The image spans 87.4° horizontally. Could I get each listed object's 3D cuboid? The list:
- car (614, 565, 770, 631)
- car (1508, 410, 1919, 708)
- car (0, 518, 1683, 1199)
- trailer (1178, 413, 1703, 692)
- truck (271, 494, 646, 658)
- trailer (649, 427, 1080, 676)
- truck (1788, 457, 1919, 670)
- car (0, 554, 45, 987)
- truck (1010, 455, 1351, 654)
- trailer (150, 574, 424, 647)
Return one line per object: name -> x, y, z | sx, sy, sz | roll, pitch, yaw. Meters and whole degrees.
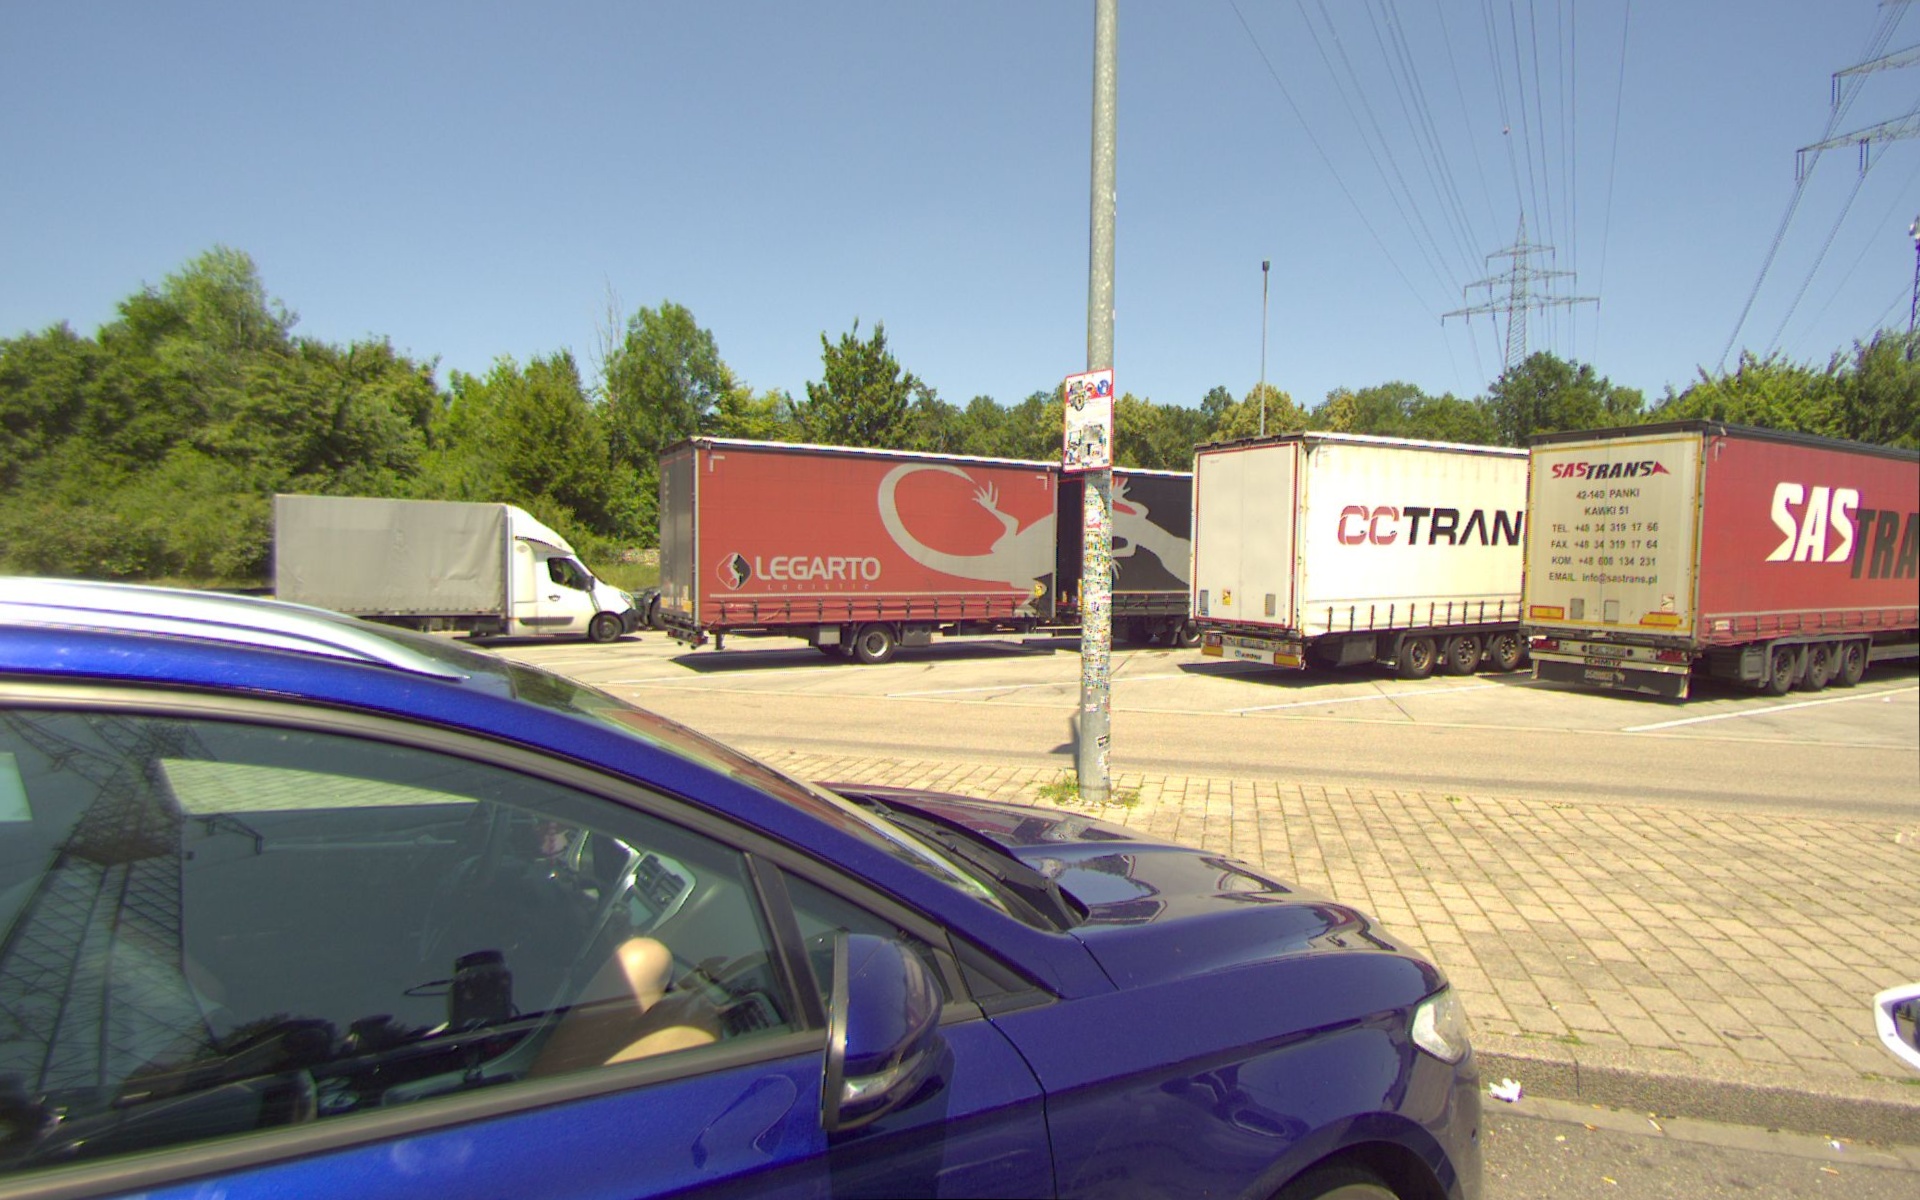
car -> -7.603, -0.052, 28.517 | 3.953, 1.773, 1.902 | 0, 0, -30
car -> 15.218, -0.694, 18.455 | 12.777, 4.169, 2.683 | -1, 3, -30
car -> -0.984, 0.672, 1.466 | 4.380, 1.464, 1.771 | 0, 0, -32
trailer -> 10.113, -0.884, 20.068 | 12.786, 4.325, 2.800 | -1, 2, -31
truck -> -11.113, -0.589, 22.875 | 7.219, 3.277, 2.308 | -2, 3, -29
trailer -> -1.742, -0.932, 20.505 | 8.389, 4.248, 2.800 | -1, 2, -30
truck -> 21.144, -0.775, 21.866 | 6.163, 4.169, 2.683 | -1, 3, -30
car -> -4.610, 0.558, 2.117 | 3.700, 1.432, 1.595 | 0, 0, -32
truck -> 5.604, -1.081, 24.829 | 8.683, 4.248, 2.800 | -1, 2, -30
trailer -> -15.948, 0.237, 24.181 | 5.332, 1.617, 1.585 | 0, 0, -30
